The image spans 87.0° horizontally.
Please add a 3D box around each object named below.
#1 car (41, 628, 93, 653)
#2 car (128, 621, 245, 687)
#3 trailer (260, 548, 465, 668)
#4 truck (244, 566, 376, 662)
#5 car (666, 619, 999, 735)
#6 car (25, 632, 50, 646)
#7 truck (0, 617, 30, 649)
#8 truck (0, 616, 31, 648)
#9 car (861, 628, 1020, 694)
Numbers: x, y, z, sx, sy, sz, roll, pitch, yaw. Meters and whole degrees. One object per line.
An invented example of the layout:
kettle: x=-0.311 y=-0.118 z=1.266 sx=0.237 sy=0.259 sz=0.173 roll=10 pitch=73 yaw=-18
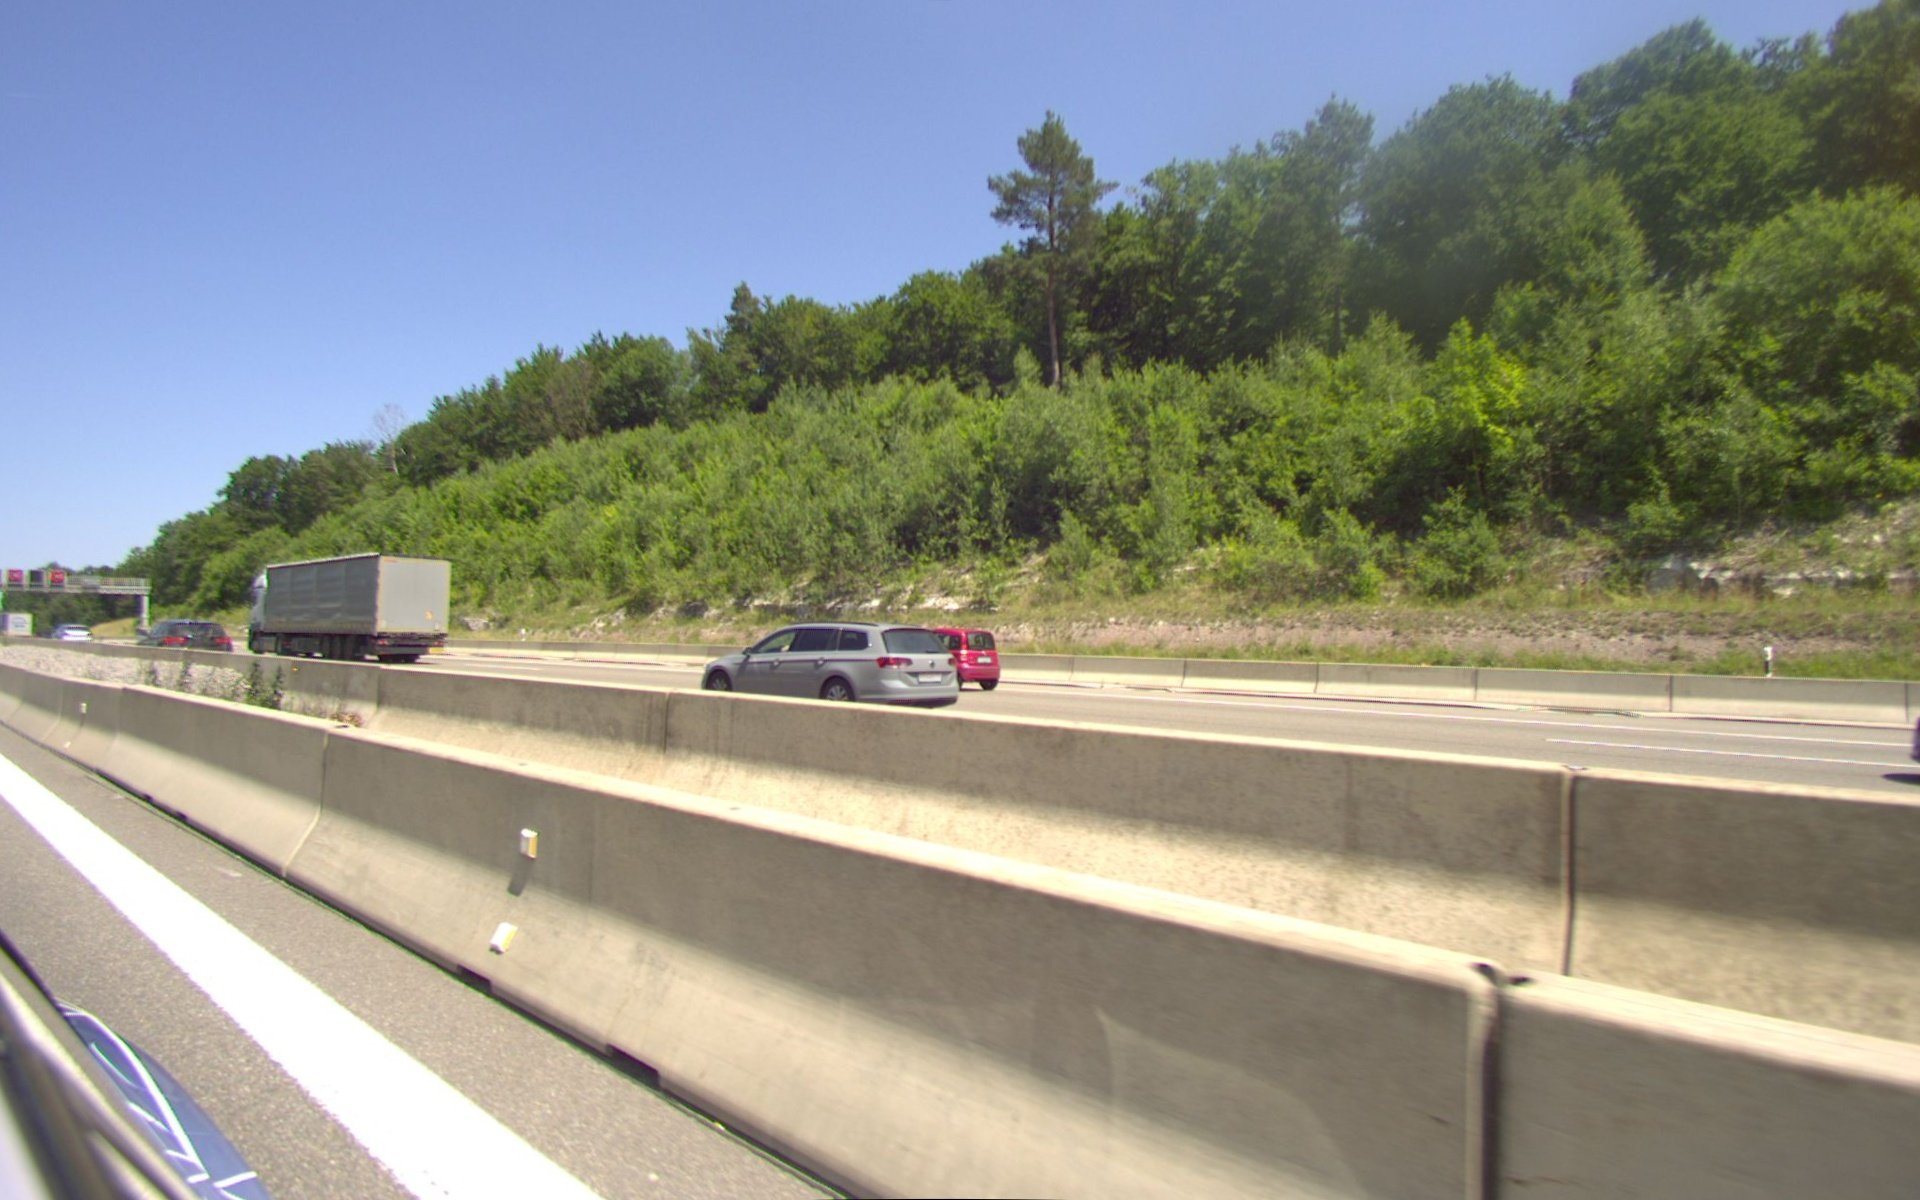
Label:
car: x=-57.615 y=2.602 z=65.252 sx=5.054 sy=1.560 sz=1.662 roll=-1 pitch=-2 yaw=39
car: x=-22.683 y=1.529 z=29.618 sx=4.466 sy=1.791 sz=1.851 roll=-1 pitch=-2 yaw=41
trailer: x=-24.930 y=0.455 z=41.665 sx=13.835 sy=4.286 sz=3.067 roll=-1 pitch=-3 yaw=42
truck: x=-29.477 y=0.659 z=45.770 sx=6.794 sy=4.013 sz=3.231 roll=-1 pitch=-2 yaw=41
car: x=-2.146 y=1.093 z=15.759 sx=5.437 sy=1.517 sz=2.007 roll=-1 pitch=-3 yaw=40
car: x=-112.801 y=4.797 z=123.735 sx=4.159 sy=1.667 sz=1.885 roll=-2 pitch=-2 yaw=42
truck: x=-131.145 y=4.583 z=140.017 sx=8.408 sy=4.261 sz=2.632 roll=-1 pitch=-2 yaw=41
truck: x=-131.695 y=4.386 z=140.497 sx=9.859 sy=4.261 sz=2.881 roll=-2 pitch=-2 yaw=42
car: x=-0.533 y=1.455 z=25.288 sx=3.718 sy=1.512 sz=1.851 roll=-1 pitch=-2 yaw=41
